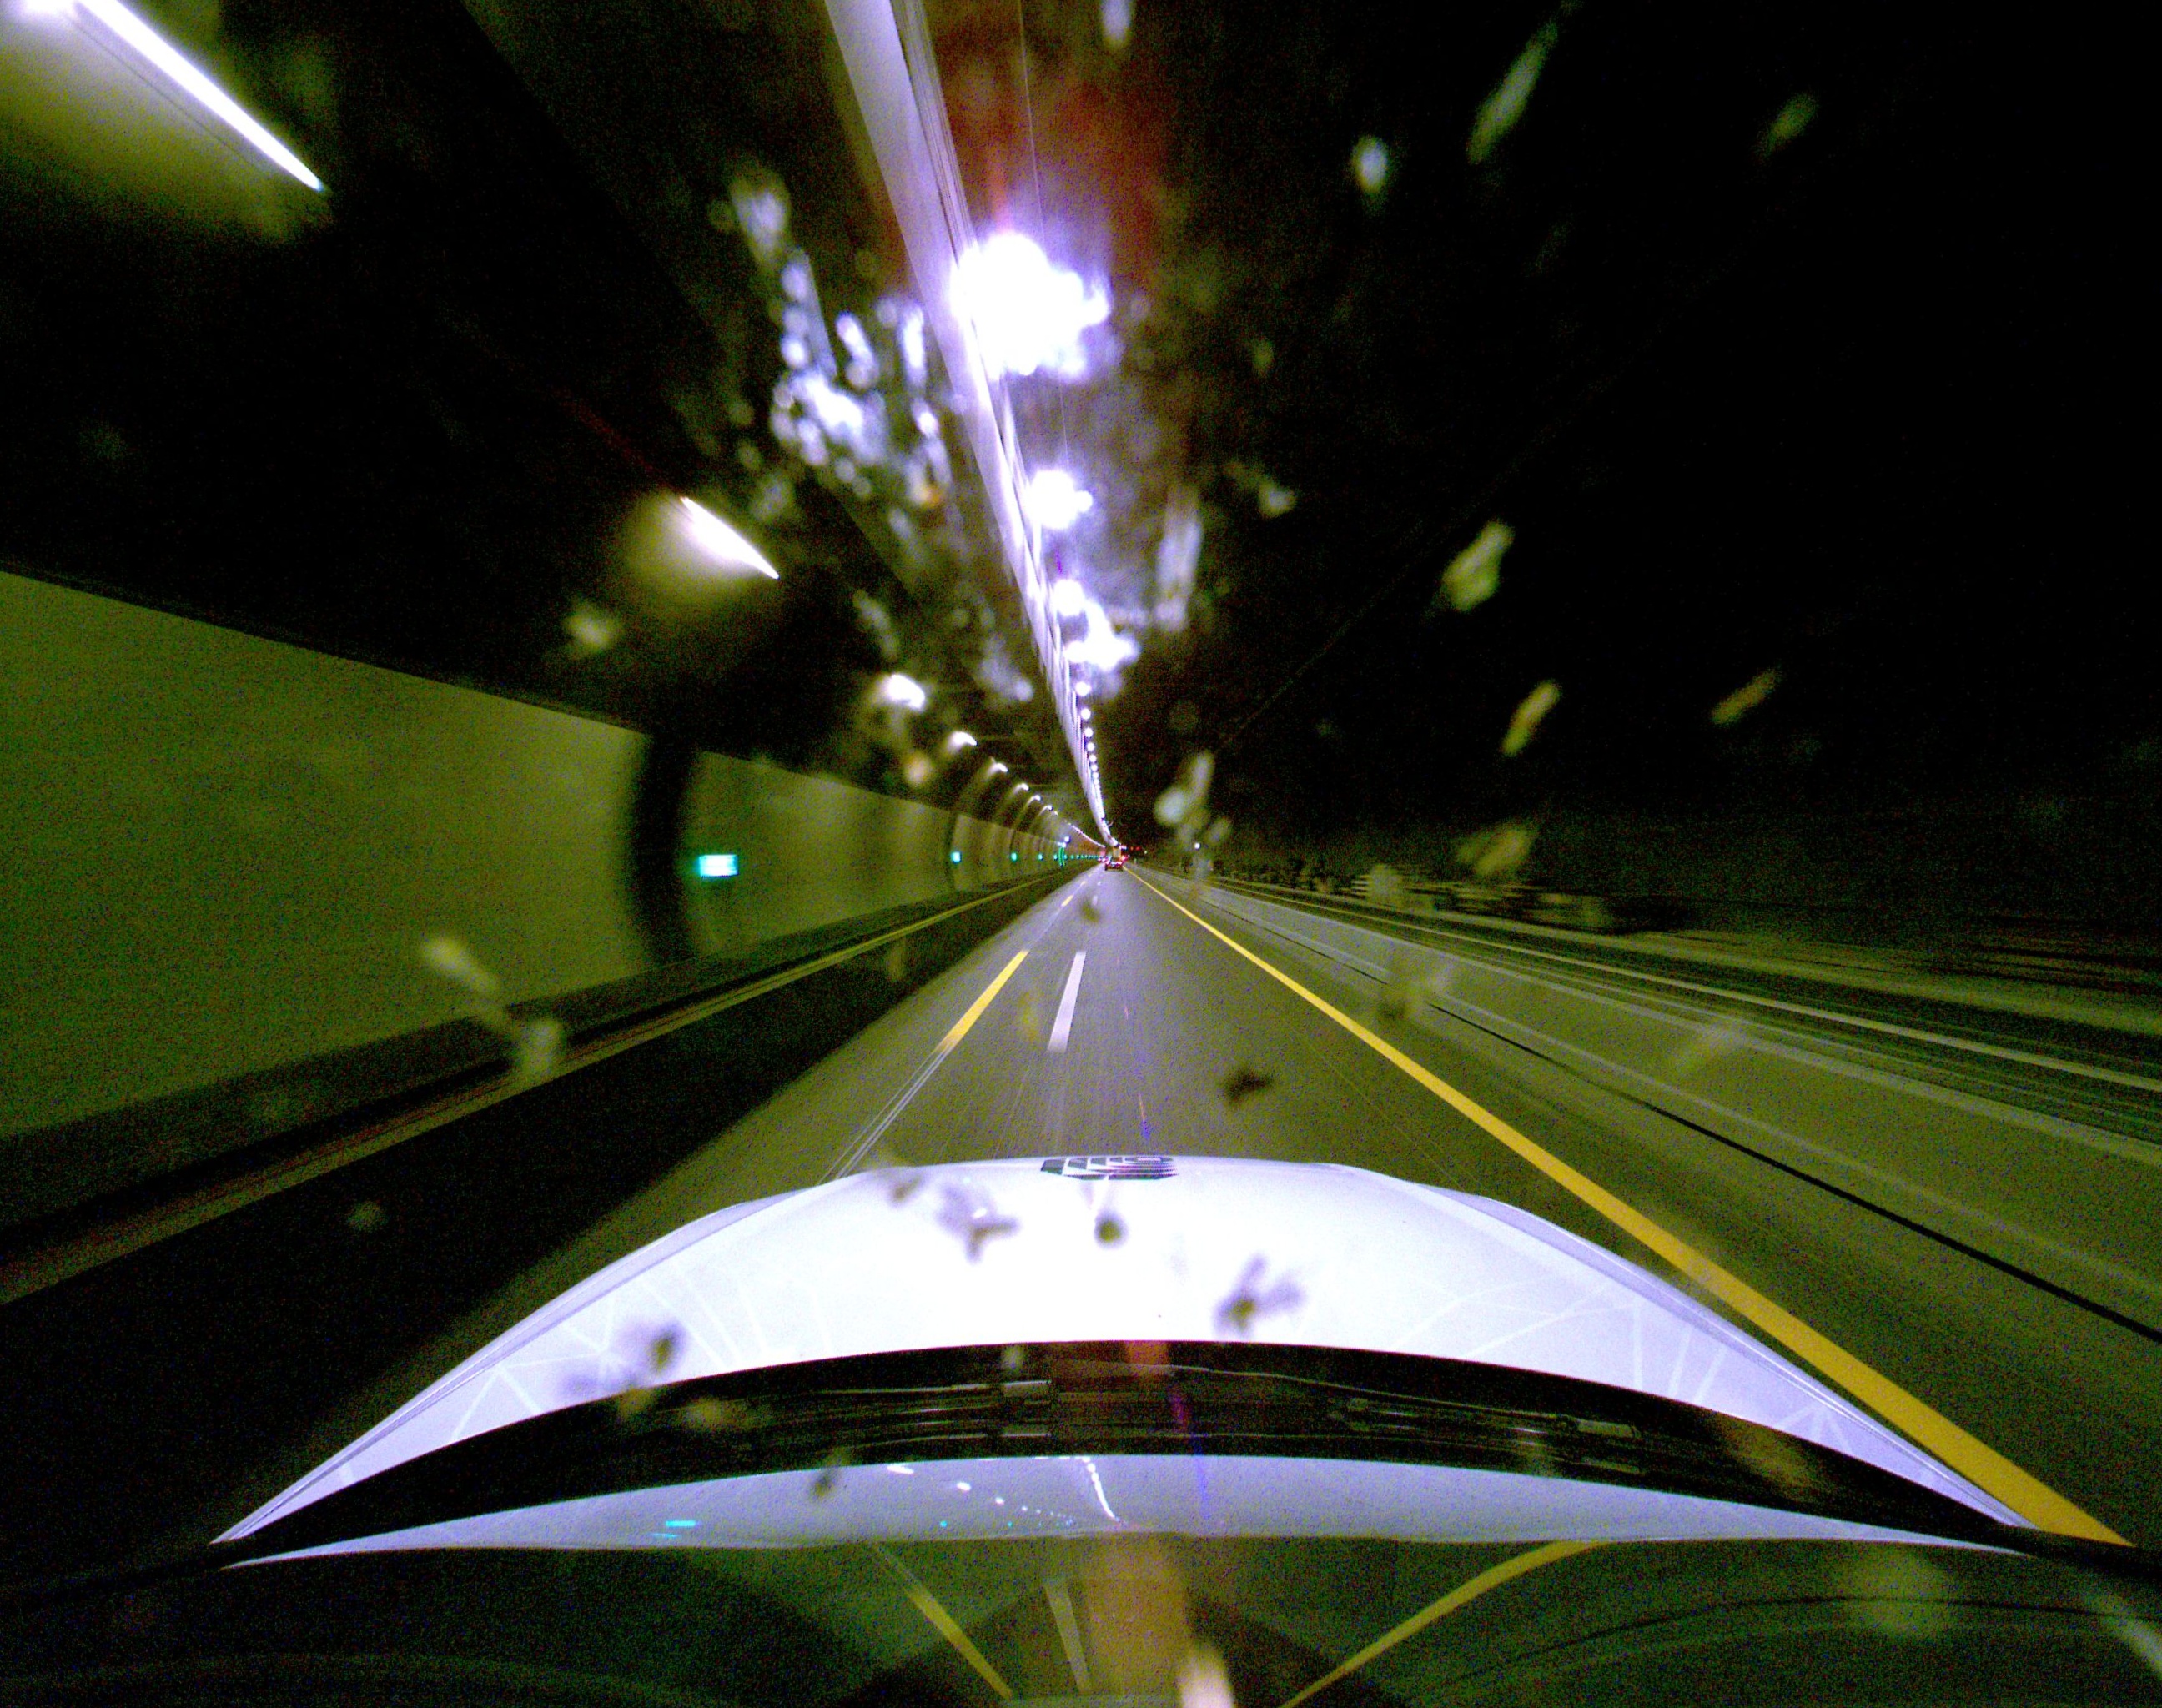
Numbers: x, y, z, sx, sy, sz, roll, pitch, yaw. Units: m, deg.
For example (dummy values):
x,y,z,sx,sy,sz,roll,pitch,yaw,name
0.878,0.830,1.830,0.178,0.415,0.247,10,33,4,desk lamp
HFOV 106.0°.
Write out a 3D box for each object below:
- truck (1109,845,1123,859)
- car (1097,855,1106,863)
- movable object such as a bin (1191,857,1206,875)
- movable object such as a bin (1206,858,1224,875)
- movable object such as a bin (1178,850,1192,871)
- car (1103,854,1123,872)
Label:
x,y,z,sx,sy,sz,roll,pitch,yaw,name
11.357,-0.643,264.320,4.050,4.532,14.972,-2,0,2,truck
4.980,1.221,196.508,1.922,1.687,4.003,-2,0,3,car
11.459,1.129,79.345,1.230,1.718,2.217,0,0,1,movable object such as a bin
11.212,1.046,68.069,1.230,1.442,2.217,0,0,1,movable object such as a bin
11.013,0.656,86.079,1.230,2.141,2.217,0,0,1,movable object such as a bin
3.389,0.900,86.732,1.941,1.794,3.998,-2,0,-1,car
